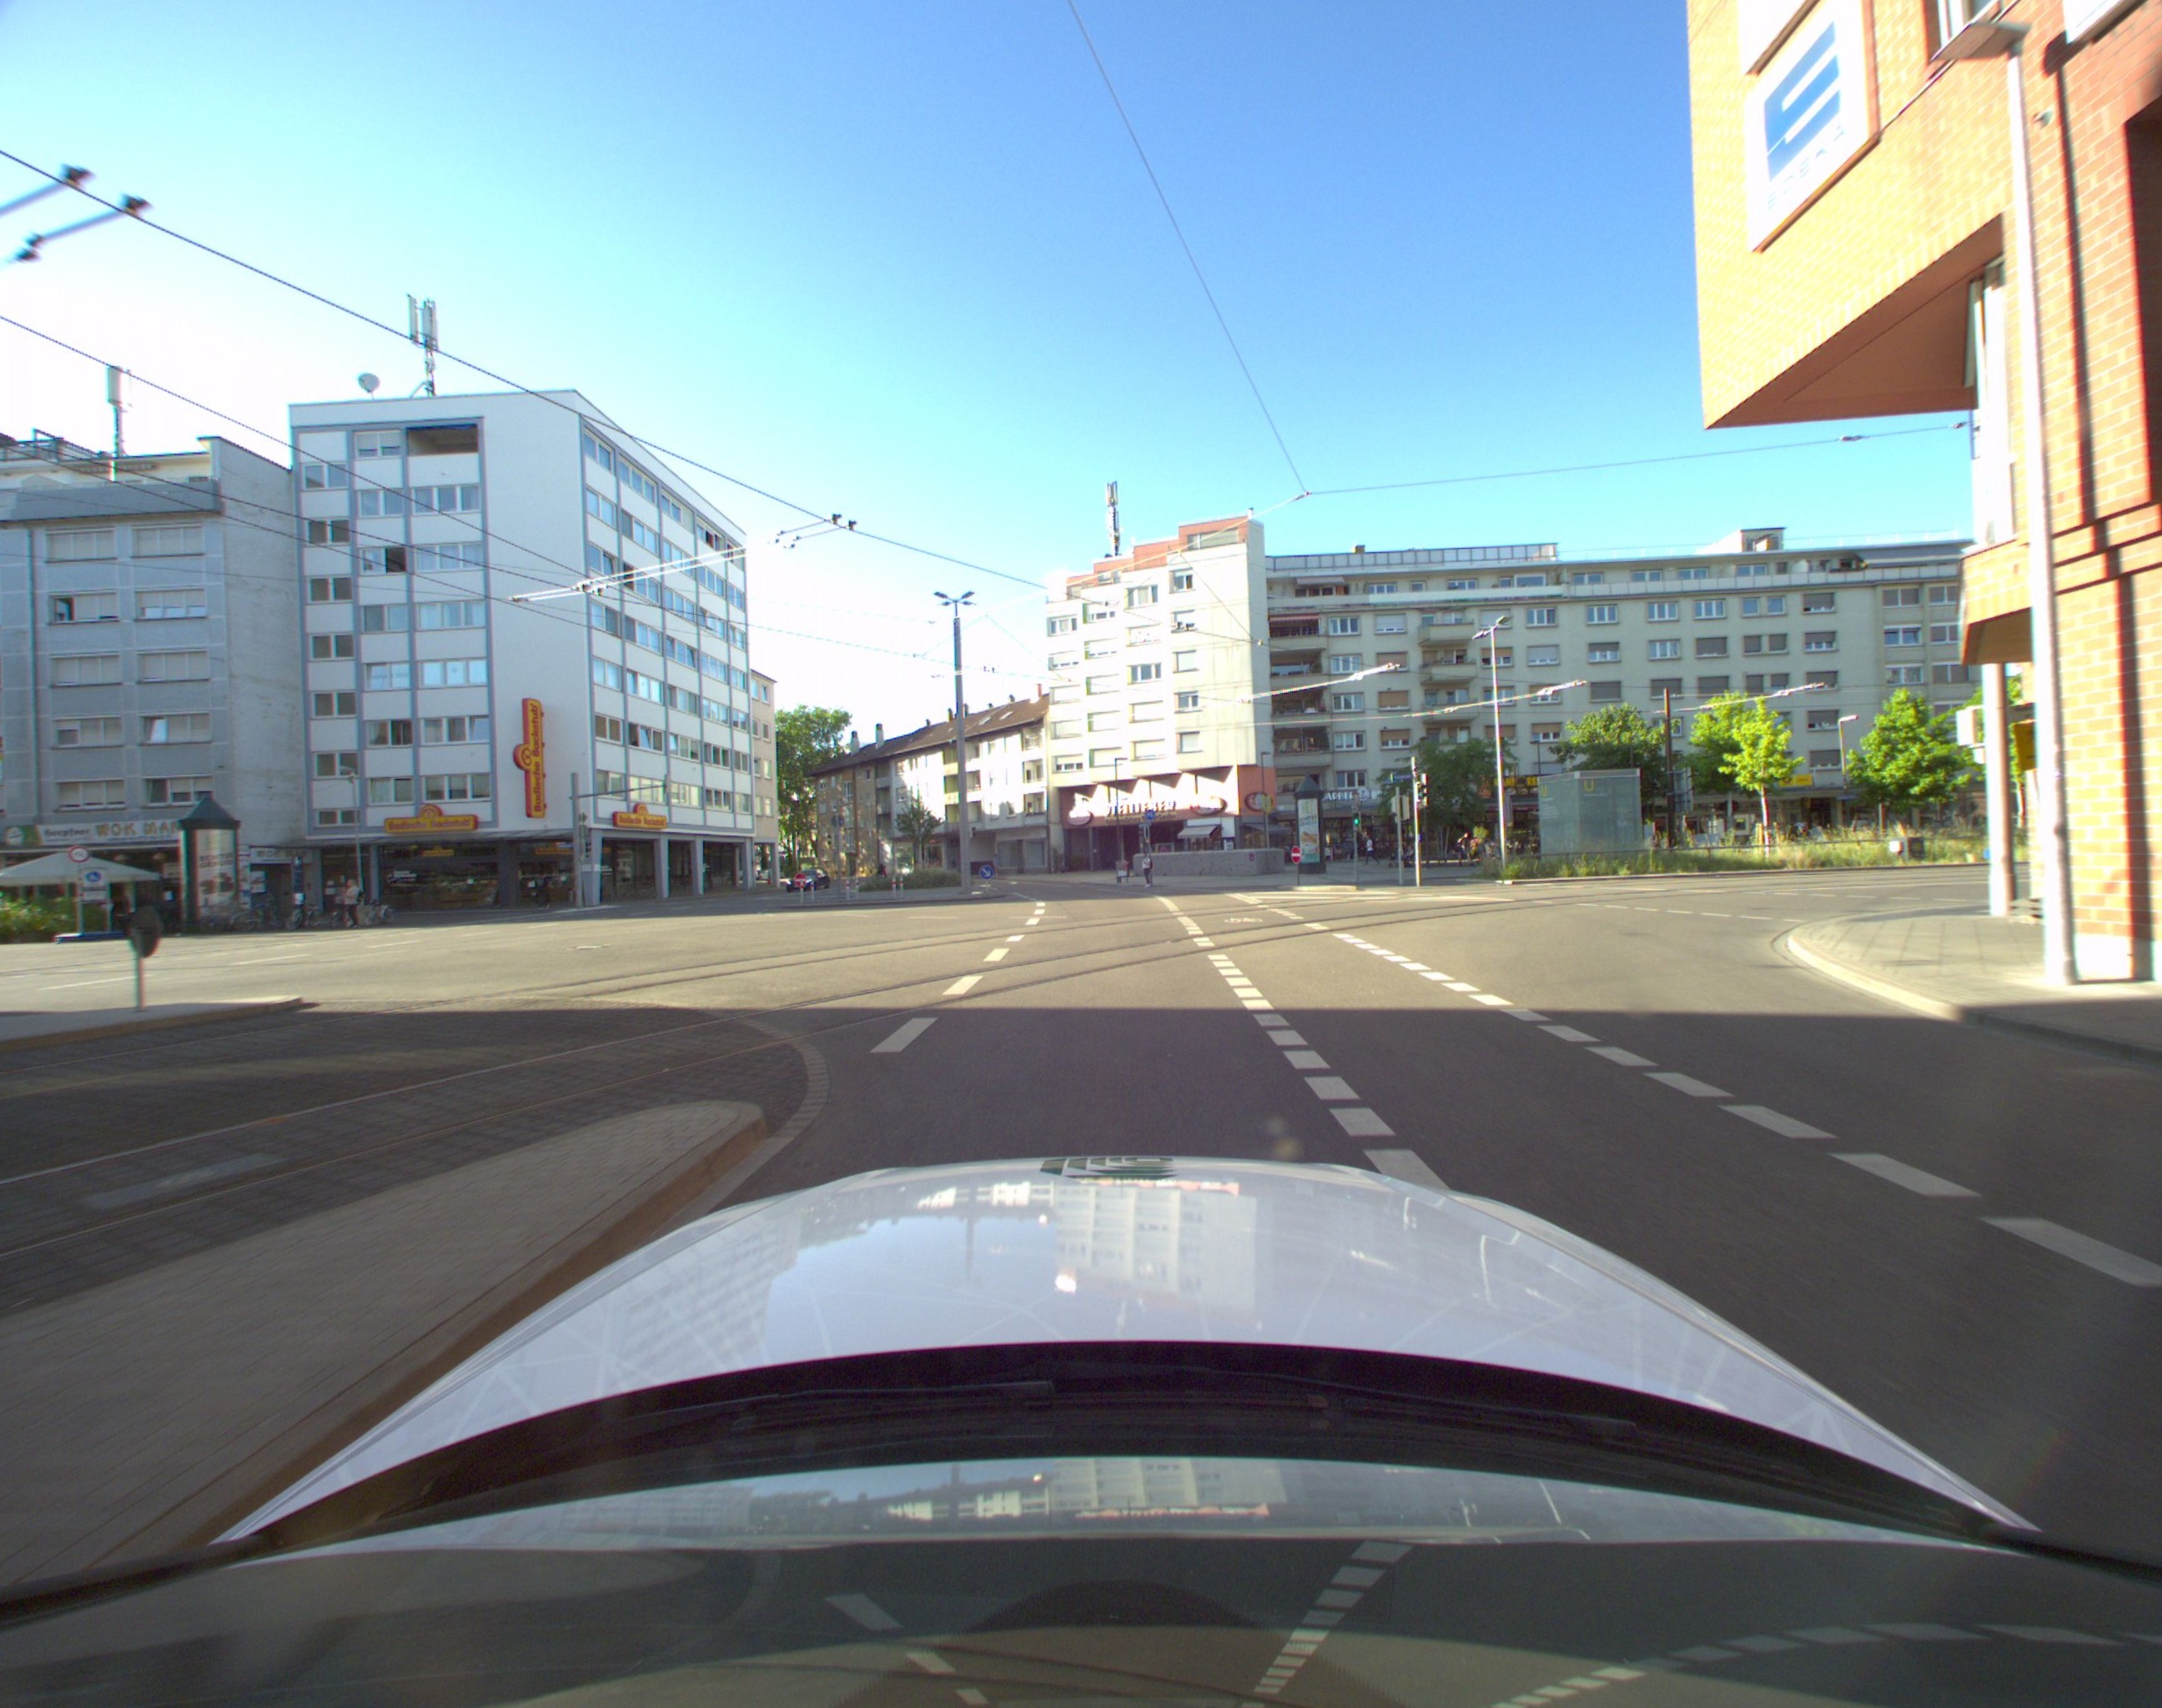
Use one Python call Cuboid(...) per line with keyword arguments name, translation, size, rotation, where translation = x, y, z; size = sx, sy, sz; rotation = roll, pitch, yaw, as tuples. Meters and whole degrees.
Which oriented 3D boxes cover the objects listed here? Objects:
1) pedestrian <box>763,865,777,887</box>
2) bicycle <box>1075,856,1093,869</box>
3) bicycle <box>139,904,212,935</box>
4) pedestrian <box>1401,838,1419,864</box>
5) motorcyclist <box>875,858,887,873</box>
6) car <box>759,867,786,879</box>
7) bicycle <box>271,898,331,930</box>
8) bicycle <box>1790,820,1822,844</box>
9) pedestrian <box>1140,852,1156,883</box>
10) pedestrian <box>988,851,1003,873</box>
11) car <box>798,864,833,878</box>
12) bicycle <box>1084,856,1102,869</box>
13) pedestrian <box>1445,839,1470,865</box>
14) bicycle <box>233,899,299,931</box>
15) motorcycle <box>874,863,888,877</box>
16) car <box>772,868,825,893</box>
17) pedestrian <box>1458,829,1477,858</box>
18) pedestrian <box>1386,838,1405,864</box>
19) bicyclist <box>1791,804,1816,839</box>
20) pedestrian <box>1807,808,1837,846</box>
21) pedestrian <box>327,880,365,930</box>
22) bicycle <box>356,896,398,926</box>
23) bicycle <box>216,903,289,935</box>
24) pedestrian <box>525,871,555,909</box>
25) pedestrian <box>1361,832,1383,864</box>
Cuboid(name="pedestrian", translation=(-25.319, 1.797, 66.307), size=(0.766, 1.724, 0.812), rotation=(-2, -1, 44))
Cuboid(name="bicycle", translation=(0.267, 0.719, 68.001), size=(0.499, 1.038, 1.618), rotation=(-2, 0, -42))
Cuboid(name="bicycle", translation=(-35.750, 2.573, 32.179), size=(0.591, 1.053, 1.852), rotation=(-2, 0, 11))
Cuboid(name="pedestrian", translation=(18.624, -0.193, 46.121), size=(0.711, 1.420, 0.935), rotation=(-2, 1, 34))
Cuboid(name="motorcyclist", translation=(-18.169, 1.060, 74.051), size=(0.970, 1.347, 1.134), rotation=(-1, 0, -10))
Cuboid(name="car", translation=(-41.492, 2.599, 109.438), size=(2.051, 1.504, 4.044), rotation=(-3, 0, -42))
Cuboid(name="bicycle", translation=(-30.313, 2.311, 31.689), size=(0.594, 1.053, 2.000), rotation=(-2, 0, -8))
Cuboid(name="bicycle", translation=(40.554, -1.230, 45.568), size=(2.224, 1.252, 0.890), rotation=(-3, 1, -37))
Cuboid(name="pedestrian", translation=(3.432, 0.701, 41.828), size=(0.544, 1.583, 0.550), rotation=(-2, 0, -40))
Cuboid(name="pedestrian", translation=(-7.382, 0.711, 70.534), size=(0.738, 1.854, 0.936), rotation=(-5, 1, -43))
Cuboid(name="car", translation=(-28.773, 1.872, 88.114), size=(3.950, 1.388, 1.941), rotation=(-2, 0, 44))
Cuboid(name="bicycle", translation=(1.001, 0.692, 68.508), size=(0.499, 1.038, 1.618), rotation=(-2, 0, -42))
Cuboid(name="pedestrian", translation=(20.482, -0.136, 44.332), size=(0.717, 1.364, 1.106), rotation=(-2, 0, -6))
Cuboid(name="bicycle", translation=(-31.206, 2.312, 31.222), size=(0.594, 1.053, 2.002), rotation=(-2, 0, -6))
Cuboid(name="motorcycle", translation=(-18.143, 1.435, 73.923), size=(0.973, 1.132, 2.796), rotation=(-1, 0, -9))
Cuboid(name="car", translation=(-18.377, 1.700, 53.173), size=(1.827, 1.386, 4.595), rotation=(-3, 0, 0))
Cuboid(name="pedestrian", translation=(23.436, -0.623, 49.418), size=(0.680, 1.745, 0.716), rotation=(-2, 0, -8))
Cuboid(name="pedestrian", translation=(18.133, -0.189, 46.982), size=(0.711, 1.446, 0.935), rotation=(-2, 1, 38))
Cuboid(name="bicyclist", translation=(40.399, -1.815, 45.542), size=(0.790, 1.949, 0.890), rotation=(-2, 1, -37))
Cuboid(name="pedestrian", translation=(33.774, -1.235, 37.132), size=(0.750, 1.671, 0.634), rotation=(-2, 0, -3))
Cuboid(name="pedestrian", translation=(-27.256, 1.868, 30.210), size=(0.625, 1.791, 0.786), rotation=(-2, 0, 4))
Cuboid(name="bicycle", translation=(-27.833, 2.246, 32.225), size=(0.597, 1.053, 1.991), rotation=(-2, 0, -23))
Cuboid(name="bicycle", translation=(-32.219, 2.499, 31.715), size=(0.591, 1.053, 2.010), rotation=(-2, 0, 7))
Cuboid(name="pedestrian", translation=(-25.183, 1.652, 37.936), size=(0.801, 1.724, 0.777), rotation=(-2, -1, 3))
Cuboid(name="pedestrian", translation=(17.757, -0.376, 49.672), size=(1.037, 1.866, 0.688), rotation=(-2, 0, 5))
